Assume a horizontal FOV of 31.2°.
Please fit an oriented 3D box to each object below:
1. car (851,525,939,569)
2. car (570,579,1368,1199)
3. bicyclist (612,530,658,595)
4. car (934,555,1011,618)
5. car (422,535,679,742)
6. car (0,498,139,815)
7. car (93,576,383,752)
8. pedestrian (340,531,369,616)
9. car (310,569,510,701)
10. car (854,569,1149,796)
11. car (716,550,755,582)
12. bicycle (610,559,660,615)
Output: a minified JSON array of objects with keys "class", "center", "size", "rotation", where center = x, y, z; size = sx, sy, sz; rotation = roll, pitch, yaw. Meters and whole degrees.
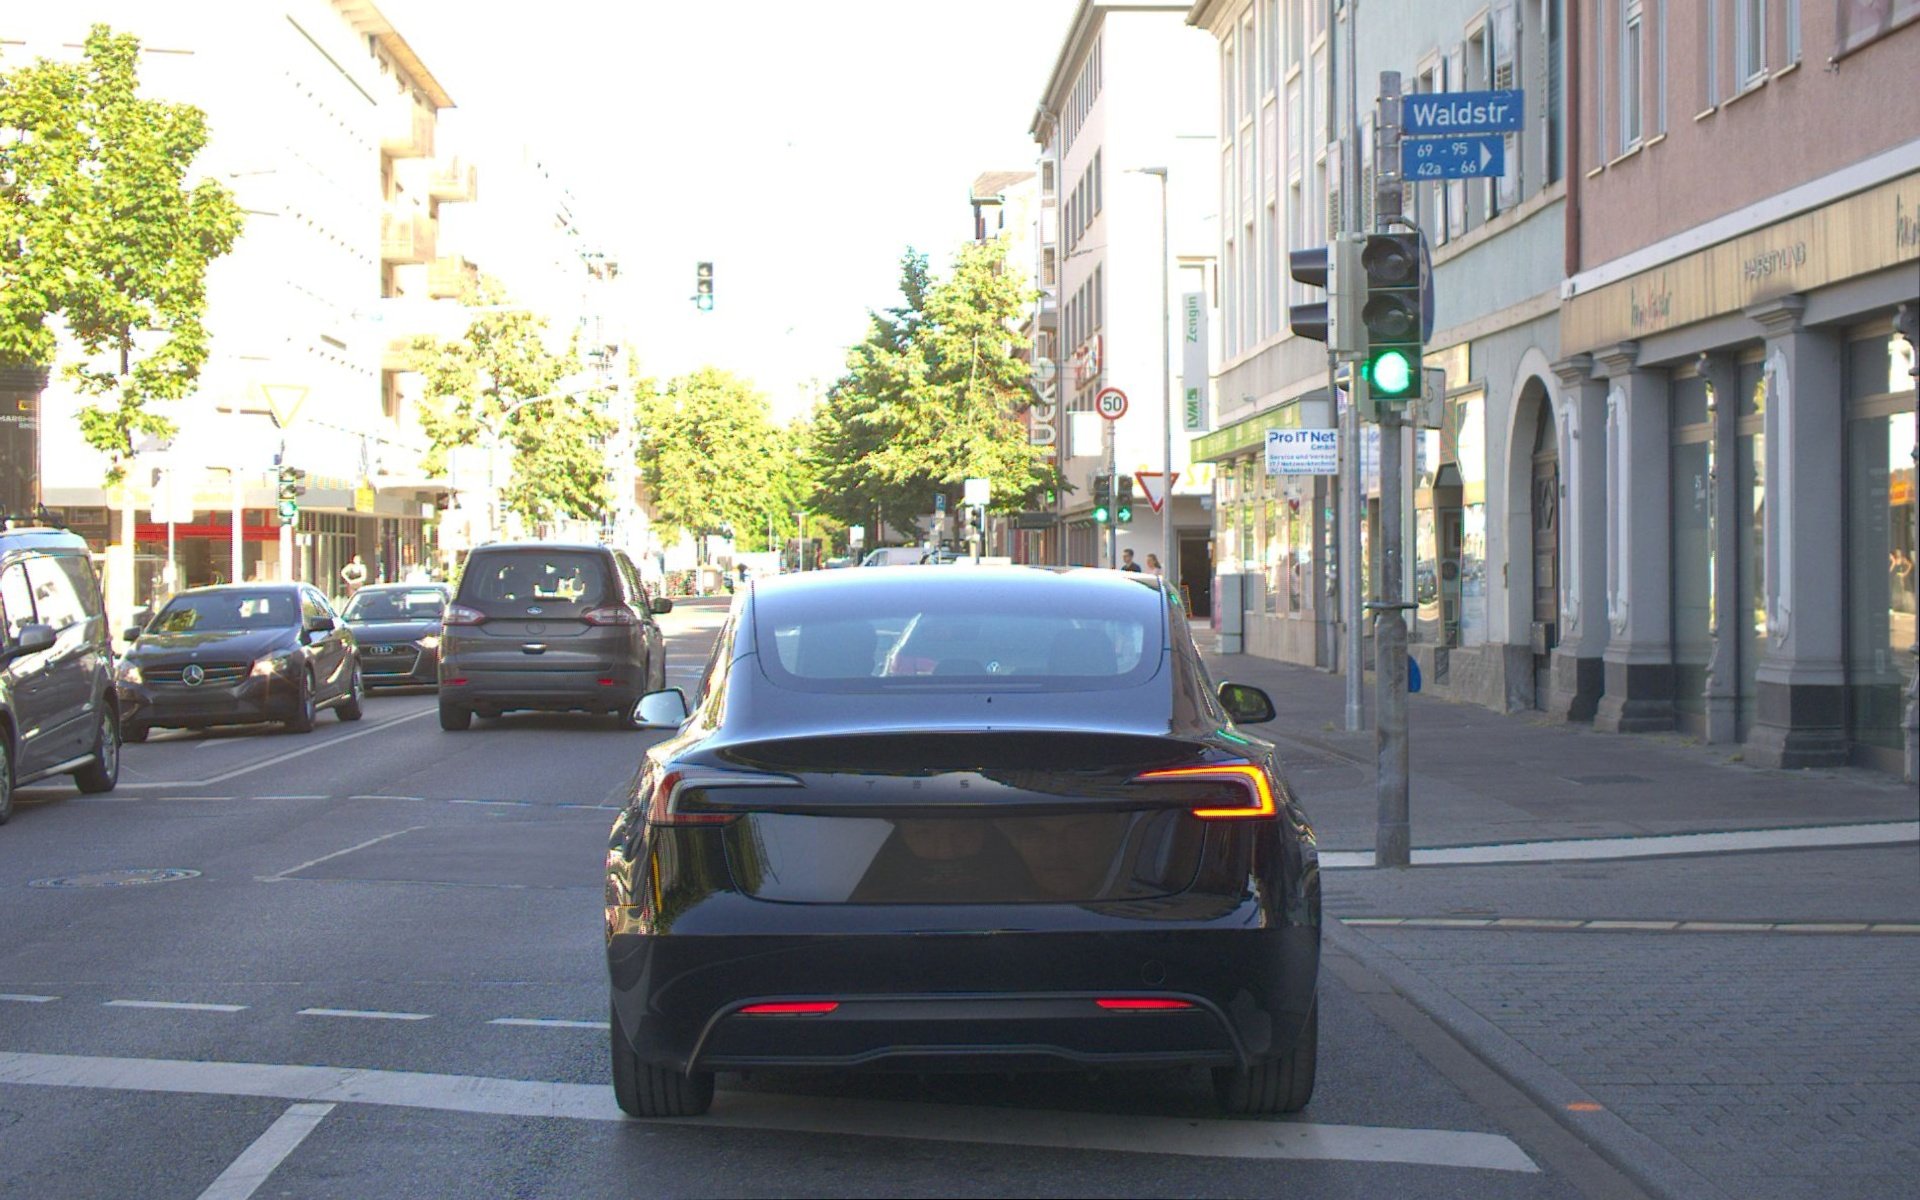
[{"class":"car","center":[-3.013,-2.455,158.707],"size":[3.986,2.007,2.000],"rotation":[0,1,-2]},{"class":"car","center":[-0.009,0.684,9.973],"size":[1.848,1.450,4.000],"rotation":[0,1,-1]},{"class":"bicyclist","center":[-8.192,-0.954,86.748],"size":[1.126,1.623,0.965],"rotation":[0,1,-4]},{"class":"car","center":[0.300,-0.370,91.925],"size":[1.993,1.623,4.000],"rotation":[0,1,-1]},{"class":"car","center":[-3.748,0.289,32.218],"size":[1.993,1.766,4.729],"rotation":[-1,1,-2]},{"class":"car","center":[-6.586,0.344,21.523],"size":[1.834,1.838,4.675],"rotation":[-4,1,-2]},{"class":"car","center":[-6.911,0.561,33.396],"size":[1.993,1.405,4.675],"rotation":[-4,1,-3]},{"class":"pedestrian","center":[-14.471,-0.644,82.146],"size":[0.574,2.007,0.828],"rotation":[1,1,-5]},{"class":"car","center":[-7.006,0.408,44.262],"size":[1.993,1.431,4.675],"rotation":[-4,1,-3]},{"class":"car","center":[0.224,0.546,25.694],"size":[1.993,1.507,4.176],"rotation":[0,1,-2]},{"class":"car","center":[-11.625,-1.790,178.193],"size":[1.993,1.631,4.001],"rotation":[0,1,-4]},{"class":"bicycle","center":[-8.176,-0.338,86.666],"size":[1.111,1.340,4.001],"rotation":[0,1,-4]}]
